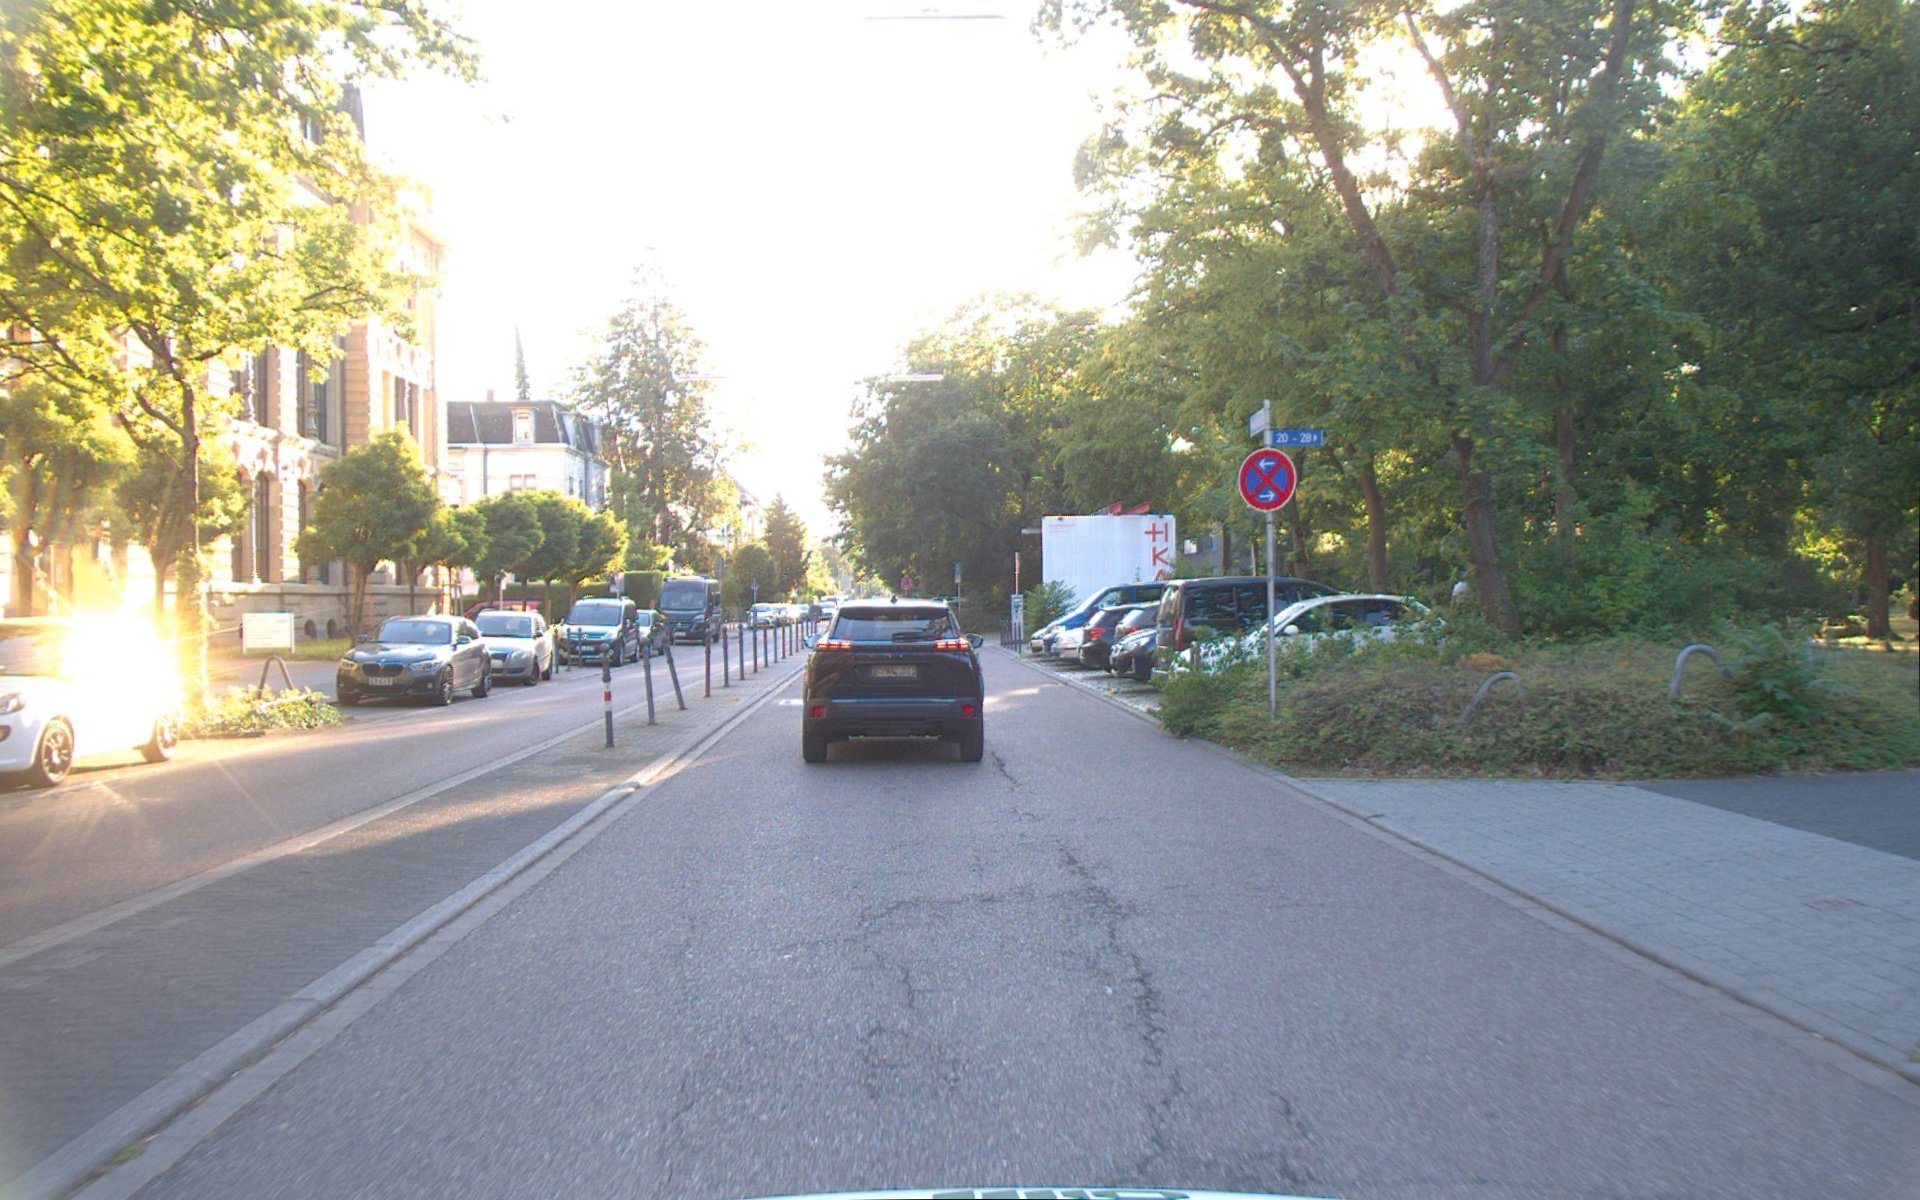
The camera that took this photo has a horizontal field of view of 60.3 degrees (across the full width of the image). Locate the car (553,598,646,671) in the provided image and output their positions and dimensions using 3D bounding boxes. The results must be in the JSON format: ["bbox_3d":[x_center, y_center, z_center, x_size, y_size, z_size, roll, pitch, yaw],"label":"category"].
[{"bbox_3d":[-9.981,0.925,46.085,1.741,1.898,4.330,2,0,-2],"label":"car"}]

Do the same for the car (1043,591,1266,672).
[{"bbox_3d":[4.456,0.720,38.326,4.829,1.581,1.915,-3,0,-3],"label":"car"}]

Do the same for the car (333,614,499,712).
[{"bbox_3d":[-9.241,1.024,28.446,1.585,1.522,4.375,0,0,-3],"label":"car"}]

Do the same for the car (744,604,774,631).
[{"bbox_3d":[-12.221,1.040,100.797,1.582,1.541,3.708,-3,0,-4],"label":"car"}]

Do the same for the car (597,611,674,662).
[{"bbox_3d":[-10.148,1.120,51.894,1.662,1.496,3.853,1,0,-1],"label":"car"}]

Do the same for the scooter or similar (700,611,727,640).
[{"bbox_3d":[-11.283,1.163,75.737,0.423,1.297,1.340,-1,-1,32],"label":"scooter or similar"}]

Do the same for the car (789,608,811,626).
[{"bbox_3d":[-13.877,1.495,143.399,1.718,1.438,3.761,-3,0,-4],"label":"car"}]

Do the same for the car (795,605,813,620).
[{"bbox_3d":[-17.738,1.415,188.147,1.861,1.601,3.997,0,0,-3],"label":"car"}]

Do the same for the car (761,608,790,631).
[{"bbox_3d":[-12.389,1.317,111.368,1.581,1.492,4.034,-1,0,-2],"label":"car"}]

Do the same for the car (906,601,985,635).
[{"bbox_3d":[-0.759,0.892,83.809,3.907,1.581,1.725,-1,1,-3],"label":"car"}]

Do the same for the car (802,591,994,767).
[{"bbox_3d":[-0.645,0.718,17.133,1.736,1.596,4.107,0,0,-2],"label":"car"}]

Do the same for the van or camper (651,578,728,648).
[{"bbox_3d":[-10.645,0.529,65.589,2.185,2.589,7.075,1,-1,-3],"label":"van or camper"}]

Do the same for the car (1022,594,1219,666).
[{"bbox_3d":[4.133,0.764,43.179,4.829,1.581,1.915,-3,0,-3],"label":"car"}]

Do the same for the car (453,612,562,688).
[{"bbox_3d":[-9.694,1.027,35.704,1.686,1.522,4.369,0,0,-8],"label":"car"}]

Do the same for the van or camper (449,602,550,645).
[{"bbox_3d":[-24.233,1.250,87.200,4.671,2.020,2.001,-1,4,-1],"label":"van or camper"}]

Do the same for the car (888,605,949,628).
[{"bbox_3d":[-2.946,1.163,116.863,4.160,1.474,2.019,-2,0,-5],"label":"car"}]

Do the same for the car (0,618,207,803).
[{"bbox_3d":[-8.814,0.950,15.807,1.585,1.522,3.922,0,0,-3],"label":"car"}]

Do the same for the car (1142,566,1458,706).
[{"bbox_3d":[5.068,0.522,25.038,4.277,1.811,1.919,-3,0,-3],"label":"car"}]

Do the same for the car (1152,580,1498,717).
[{"bbox_3d":[4.937,0.641,22.721,4.277,1.581,1.726,-3,0,-3],"label":"car"}]

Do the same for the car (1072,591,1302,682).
[{"bbox_3d":[4.531,0.718,33.488,4.277,1.564,1.919,-3,0,-3],"label":"car"}]

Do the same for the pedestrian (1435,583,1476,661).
[{"bbox_3d":[11.736,0.513,39.199,0.651,1.803,0.784,-1,0,-7],"label":"pedestrian"}]

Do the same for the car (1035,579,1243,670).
[{"bbox_3d":[4.348,0.587,40.642,4.756,1.949,1.915,-3,0,-3],"label":"car"}]

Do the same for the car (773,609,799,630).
[{"bbox_3d":[-12.877,1.415,122.434,1.581,1.492,4.034,-1,0,-2],"label":"car"}]

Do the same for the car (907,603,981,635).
[{"bbox_3d":[-0.885,1.003,88.908,3.907,1.581,1.751,-1,1,-3],"label":"car"}]

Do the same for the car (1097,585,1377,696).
[{"bbox_3d":[4.579,0.654,27.754,4.277,1.581,1.875,-3,0,-3],"label":"car"}]

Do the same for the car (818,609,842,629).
[{"bbox_3d":[-10.071,1.458,128.241,1.706,1.483,4.621,-1,0,-3],"label":"car"}]

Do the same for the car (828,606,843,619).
[{"bbox_3d":[-17.036,1.711,227.093,1.954,1.847,3.997,0,0,-3],"label":"car"}]

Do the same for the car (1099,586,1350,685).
[{"bbox_3d":[4.887,0.640,30.972,4.277,1.564,1.919,-3,0,-3],"label":"car"}]
